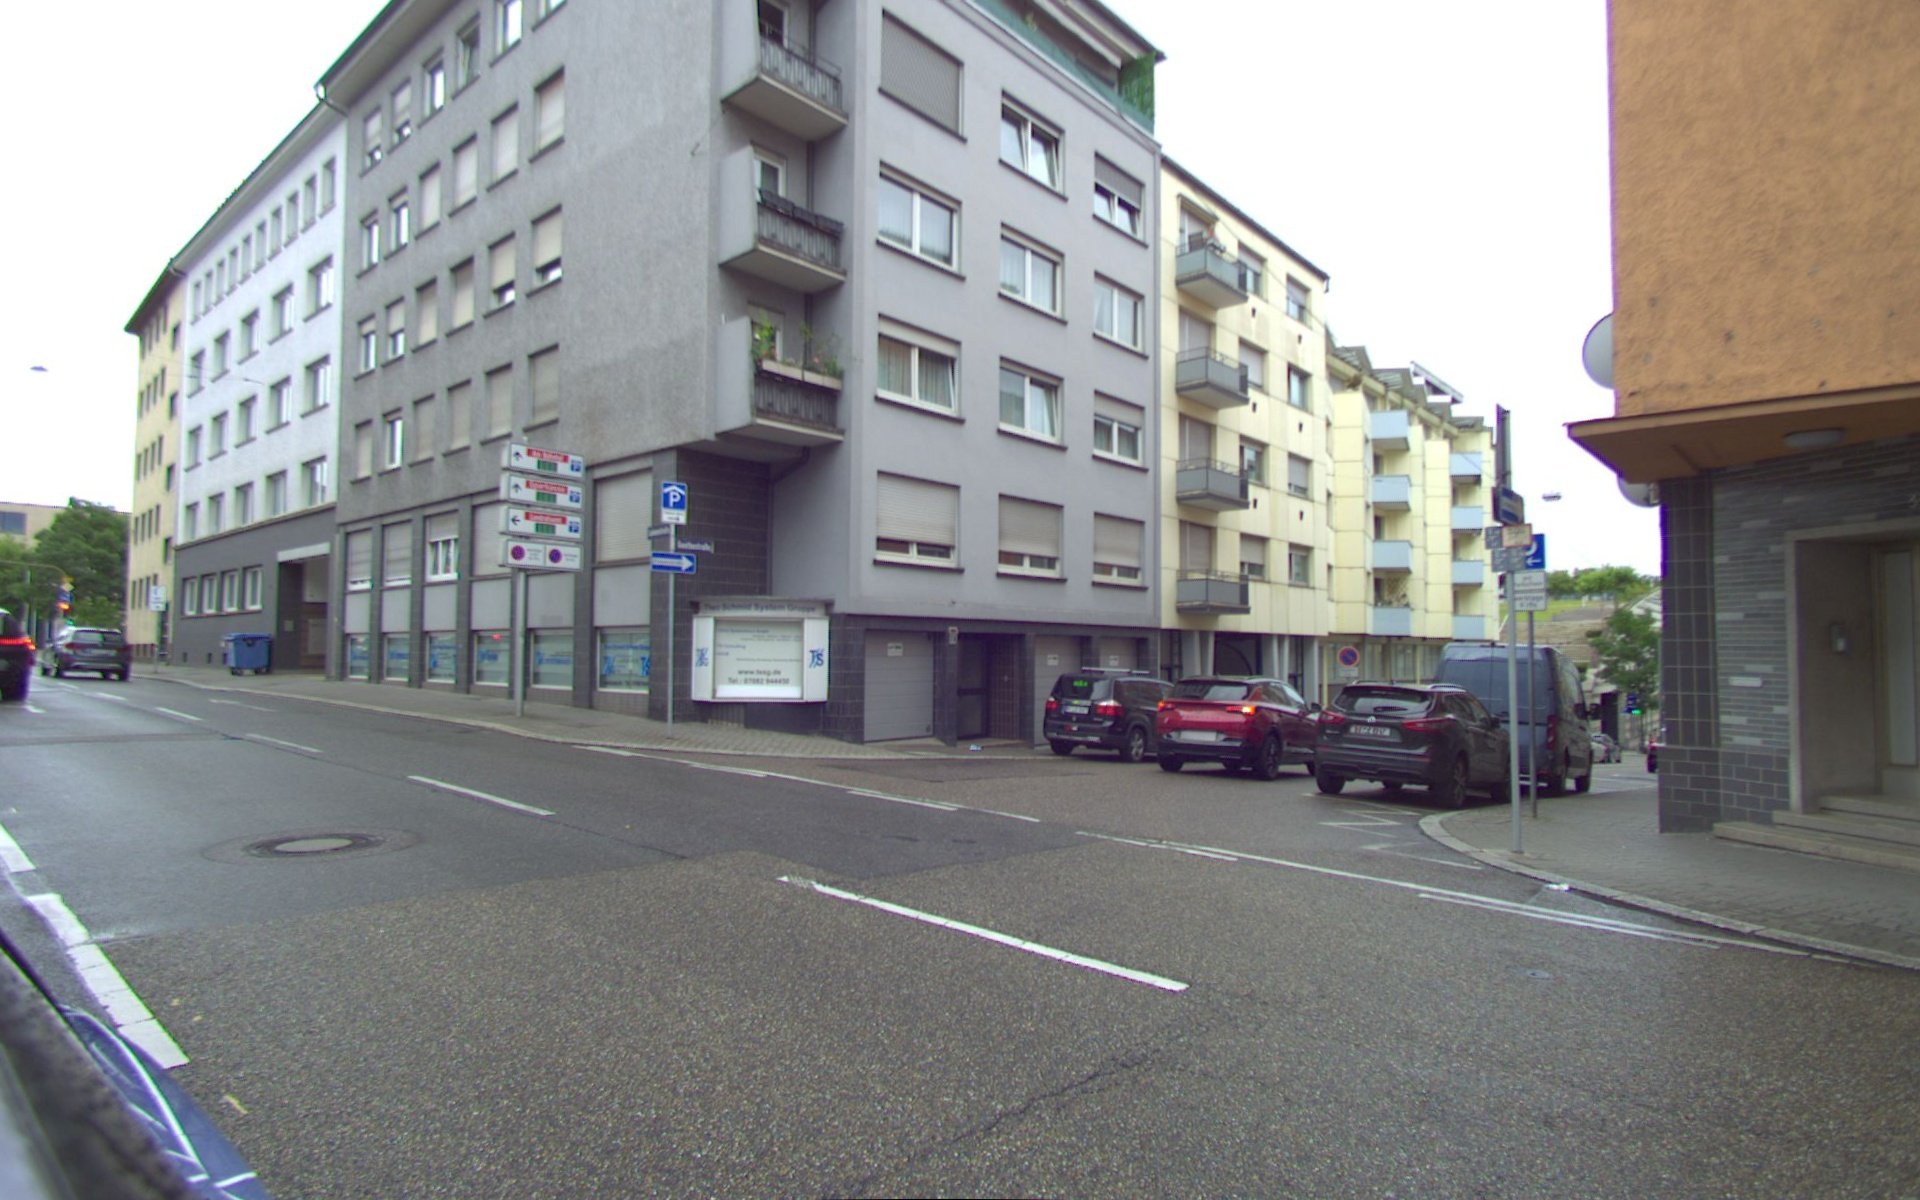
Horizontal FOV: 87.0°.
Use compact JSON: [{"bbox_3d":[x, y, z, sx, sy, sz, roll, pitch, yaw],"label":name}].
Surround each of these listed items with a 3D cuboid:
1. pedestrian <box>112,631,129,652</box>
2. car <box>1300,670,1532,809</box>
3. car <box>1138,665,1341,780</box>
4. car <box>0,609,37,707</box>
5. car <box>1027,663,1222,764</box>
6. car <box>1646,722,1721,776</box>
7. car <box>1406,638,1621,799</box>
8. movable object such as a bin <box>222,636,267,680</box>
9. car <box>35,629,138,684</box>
[{"bbox_3d":[-46.325,2.295,55.857,0.407,1.158,0.575,-2,-6,42],"label":"pedestrian"},{"bbox_3d":[6.480,1.949,14.133,1.842,1.589,4.098,-1,-8,41],"label":"car"},{"bbox_3d":[4.764,1.937,16.821,1.800,1.596,4.261,-1,-4,37],"label":"car"},{"bbox_3d":[-19.268,1.027,19.070,4.815,1.734,2.104,-1,-5,41],"label":"car"},{"bbox_3d":[3.333,2.273,19.912,1.794,1.700,4.186,-1,-8,41],"label":"car"},{"bbox_3d":[25.947,5.336,36.258,1.817,1.688,3.998,-1,-8,41],"label":"car"},{"bbox_3d":[10.395,2.195,18.707,2.249,2.480,5.975,-1,-7,41],"label":"car"},{"bbox_3d":[-22.880,1.841,32.378,1.096,1.343,0.933,-1,0,41],"label":"movable object such as a bin"},{"bbox_3d":[-26.717,1.707,30.922,4.157,1.519,1.685,-1,-5,41],"label":"car"}]
